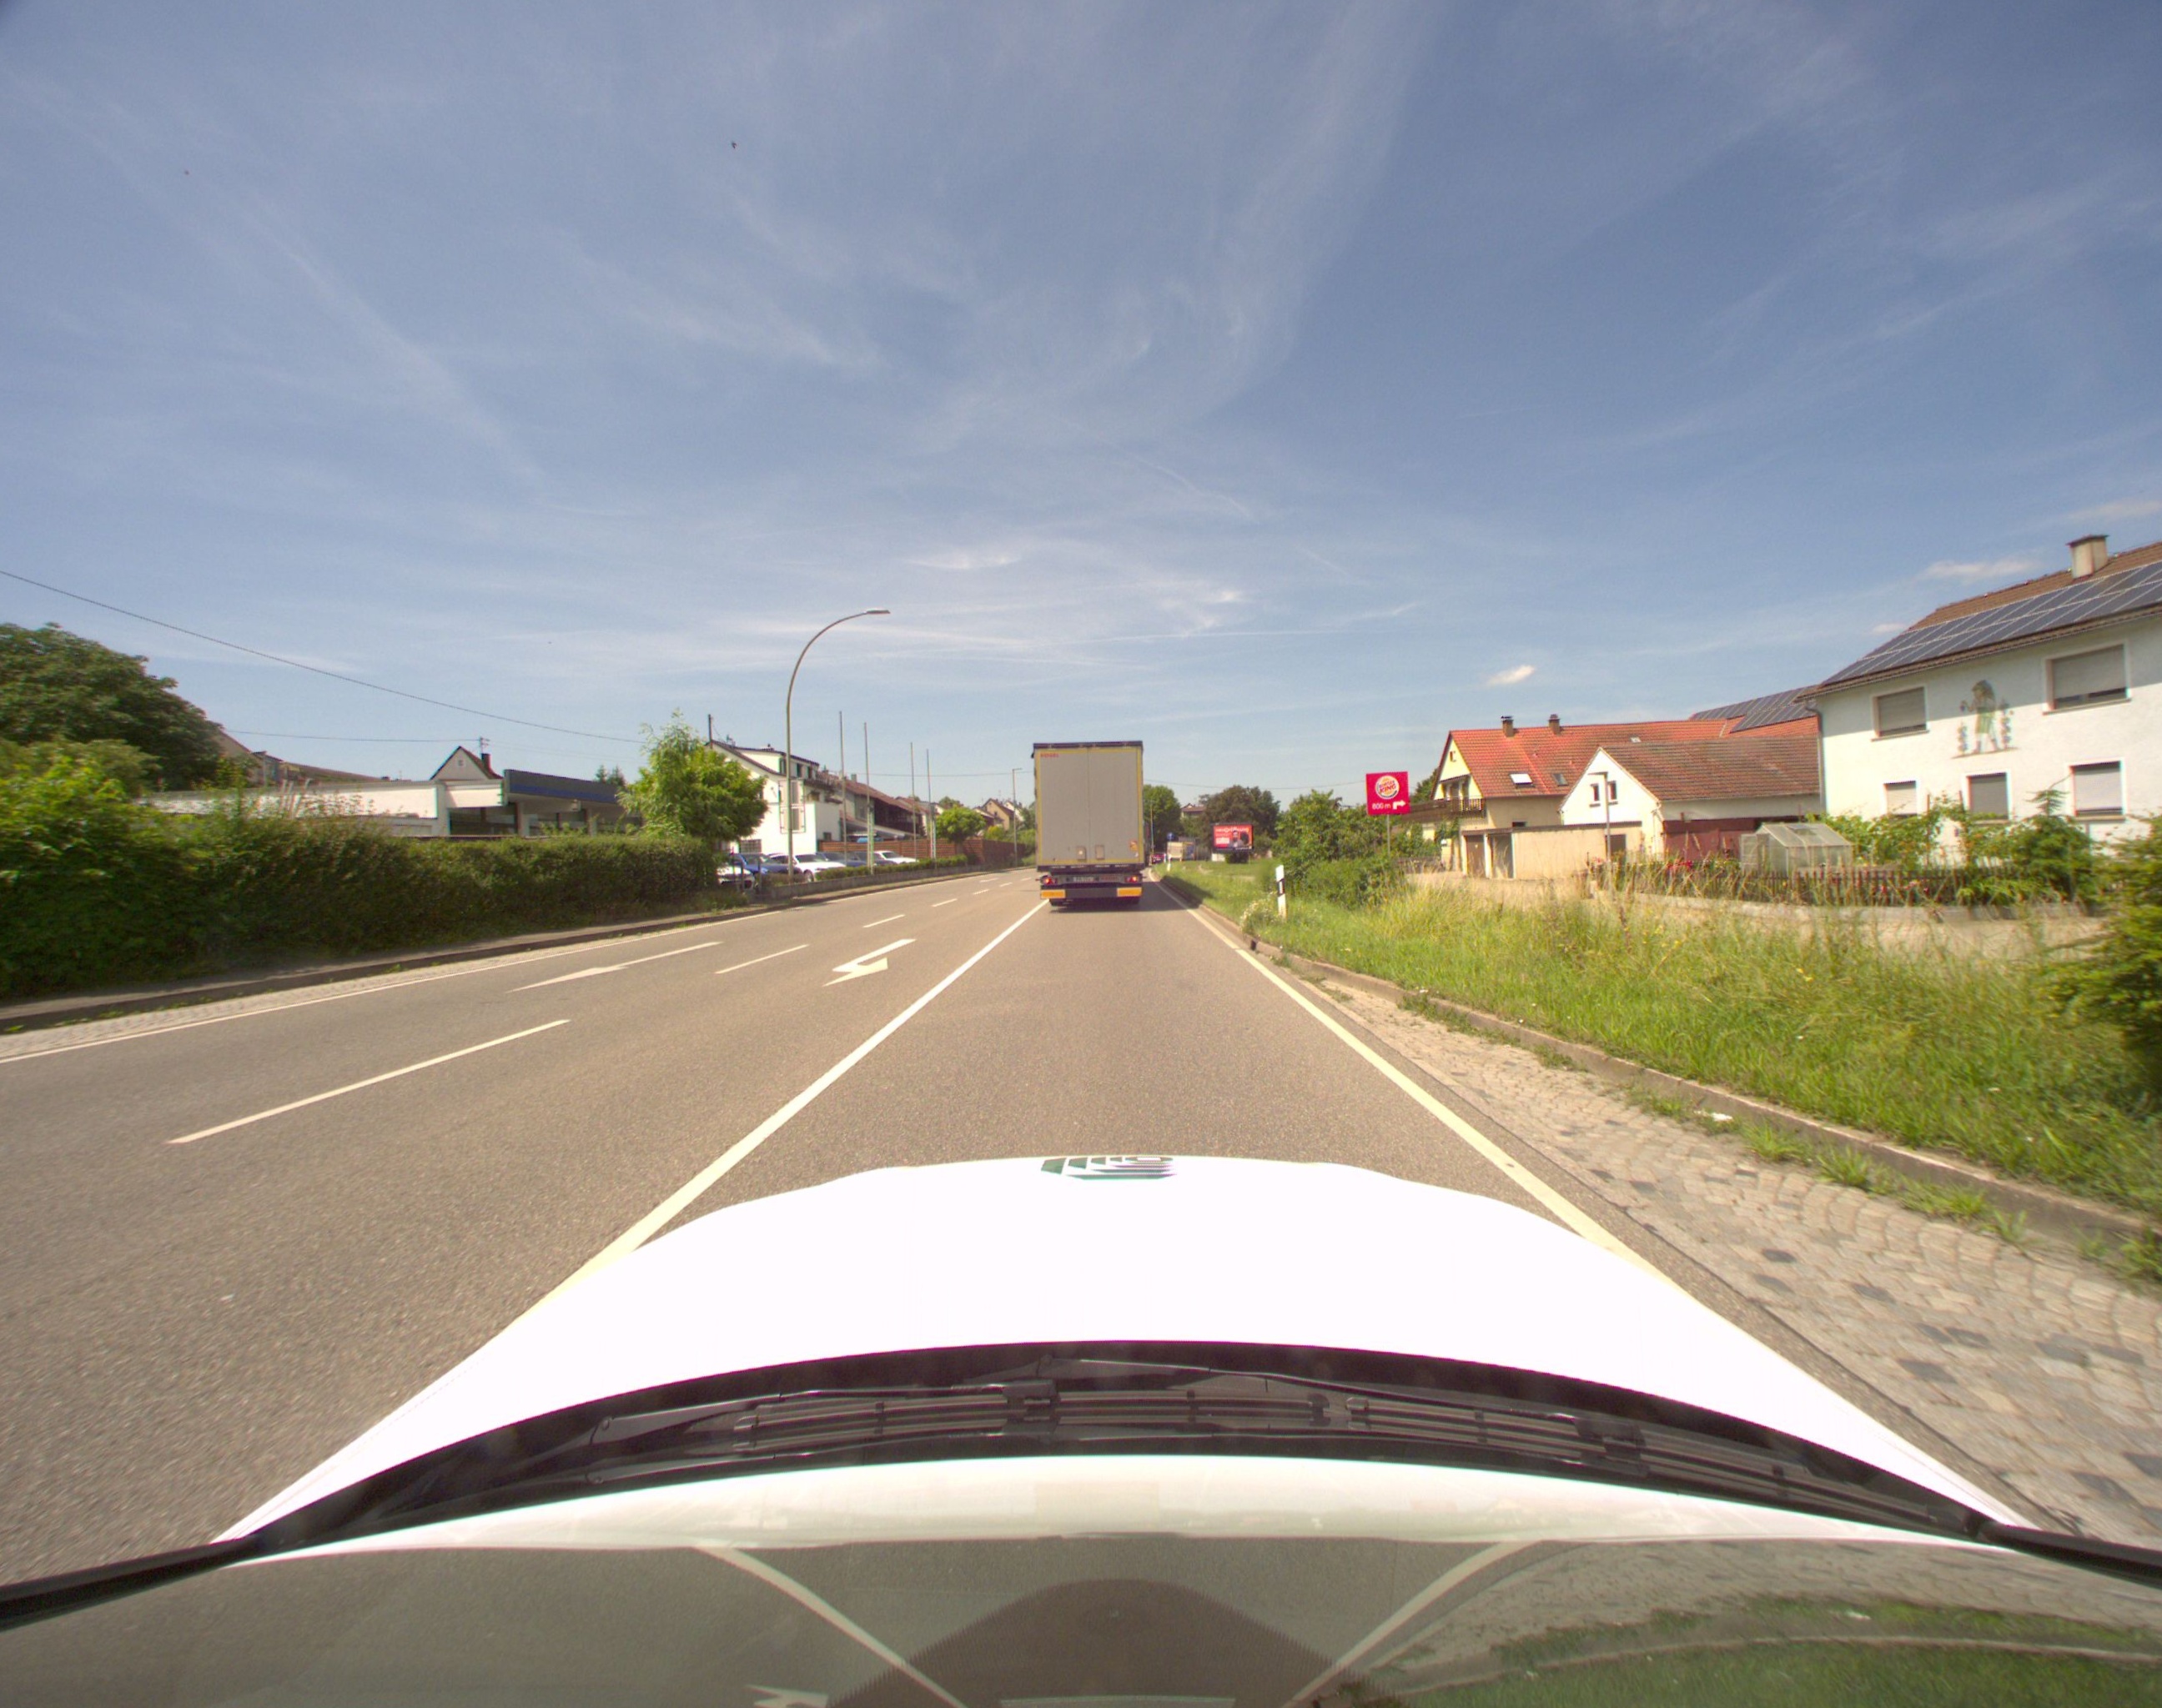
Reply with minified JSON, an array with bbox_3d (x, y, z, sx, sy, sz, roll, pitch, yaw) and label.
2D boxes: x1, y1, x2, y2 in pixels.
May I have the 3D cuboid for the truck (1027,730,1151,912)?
[{"bbox_3d":[0.451,-0.770,24.263,2.810,4.127,11.451,0,0,3],"label":"truck"}]

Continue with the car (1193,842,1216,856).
[{"bbox_3d":[20.340,-0.795,134.152,2.511,2.277,6.413,-1,0,19],"label":"car"}]

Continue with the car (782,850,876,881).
[{"bbox_3d":[-12.351,0.570,39.855,4.288,1.447,1.868,-1,-1,27],"label":"car"}]

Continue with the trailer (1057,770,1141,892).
[{"bbox_3d":[0.780,-0.815,31.227,2.814,4.110,6.549,-1,0,3],"label":"trailer"}]

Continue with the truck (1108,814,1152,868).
[{"bbox_3d":[4.621,-1.014,73.210,2.745,4.289,16.448,0,0,7],"label":"truck"}]

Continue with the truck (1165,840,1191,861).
[{"bbox_3d":[13.633,-0.492,113.990,2.523,2.803,6.060,-1,-1,18],"label":"truck"}]

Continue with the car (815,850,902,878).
[{"bbox_3d":[-11.809,0.533,43.147,4.287,1.447,1.910,-1,-1,28],"label":"car"}]

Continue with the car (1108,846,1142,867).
[{"bbox_3d":[3.112,0.189,56.637,1.807,1.346,3.859,-1,-1,11],"label":"car"}]

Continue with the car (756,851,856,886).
[{"bbox_3d":[-12.101,0.608,35.733,4.457,1.447,1.869,0,1,35],"label":"car"}]

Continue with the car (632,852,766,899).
[{"bbox_3d":[-12.816,0.701,27.253,4.521,1.447,1.869,-1,-1,32],"label":"car"}]

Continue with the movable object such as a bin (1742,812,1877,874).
[{"bbox_3d":[30.619,-0.462,34.348,3.690,2.343,2.083,-3,1,6],"label":"movable object such as a bin"}]

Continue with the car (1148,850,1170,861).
[{"bbox_3d":[9.591,0.218,100.221,1.978,1.376,4.017,-1,-1,16],"label":"car"}]

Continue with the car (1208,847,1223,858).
[{"bbox_3d":[24.270,-0.263,146.424,1.977,2.014,4.020,-1,-1,19],"label":"car"}]

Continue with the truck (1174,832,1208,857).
[{"bbox_3d":[17.117,-1.428,125.903,3.404,3.604,9.399,-1,0,19],"label":"truck"}]

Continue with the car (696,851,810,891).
[{"bbox_3d":[-12.579,0.642,31.169,4.286,1.447,1.869,-1,-1,32],"label":"car"}]

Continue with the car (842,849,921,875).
[{"bbox_3d":[-11.543,0.466,47.087,4.287,1.447,1.868,-1,-1,28],"label":"car"}]

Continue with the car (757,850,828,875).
[{"bbox_3d":[-18.671,0.535,52.715,3.956,1.510,1.843,-1,0,16],"label":"car"}]
